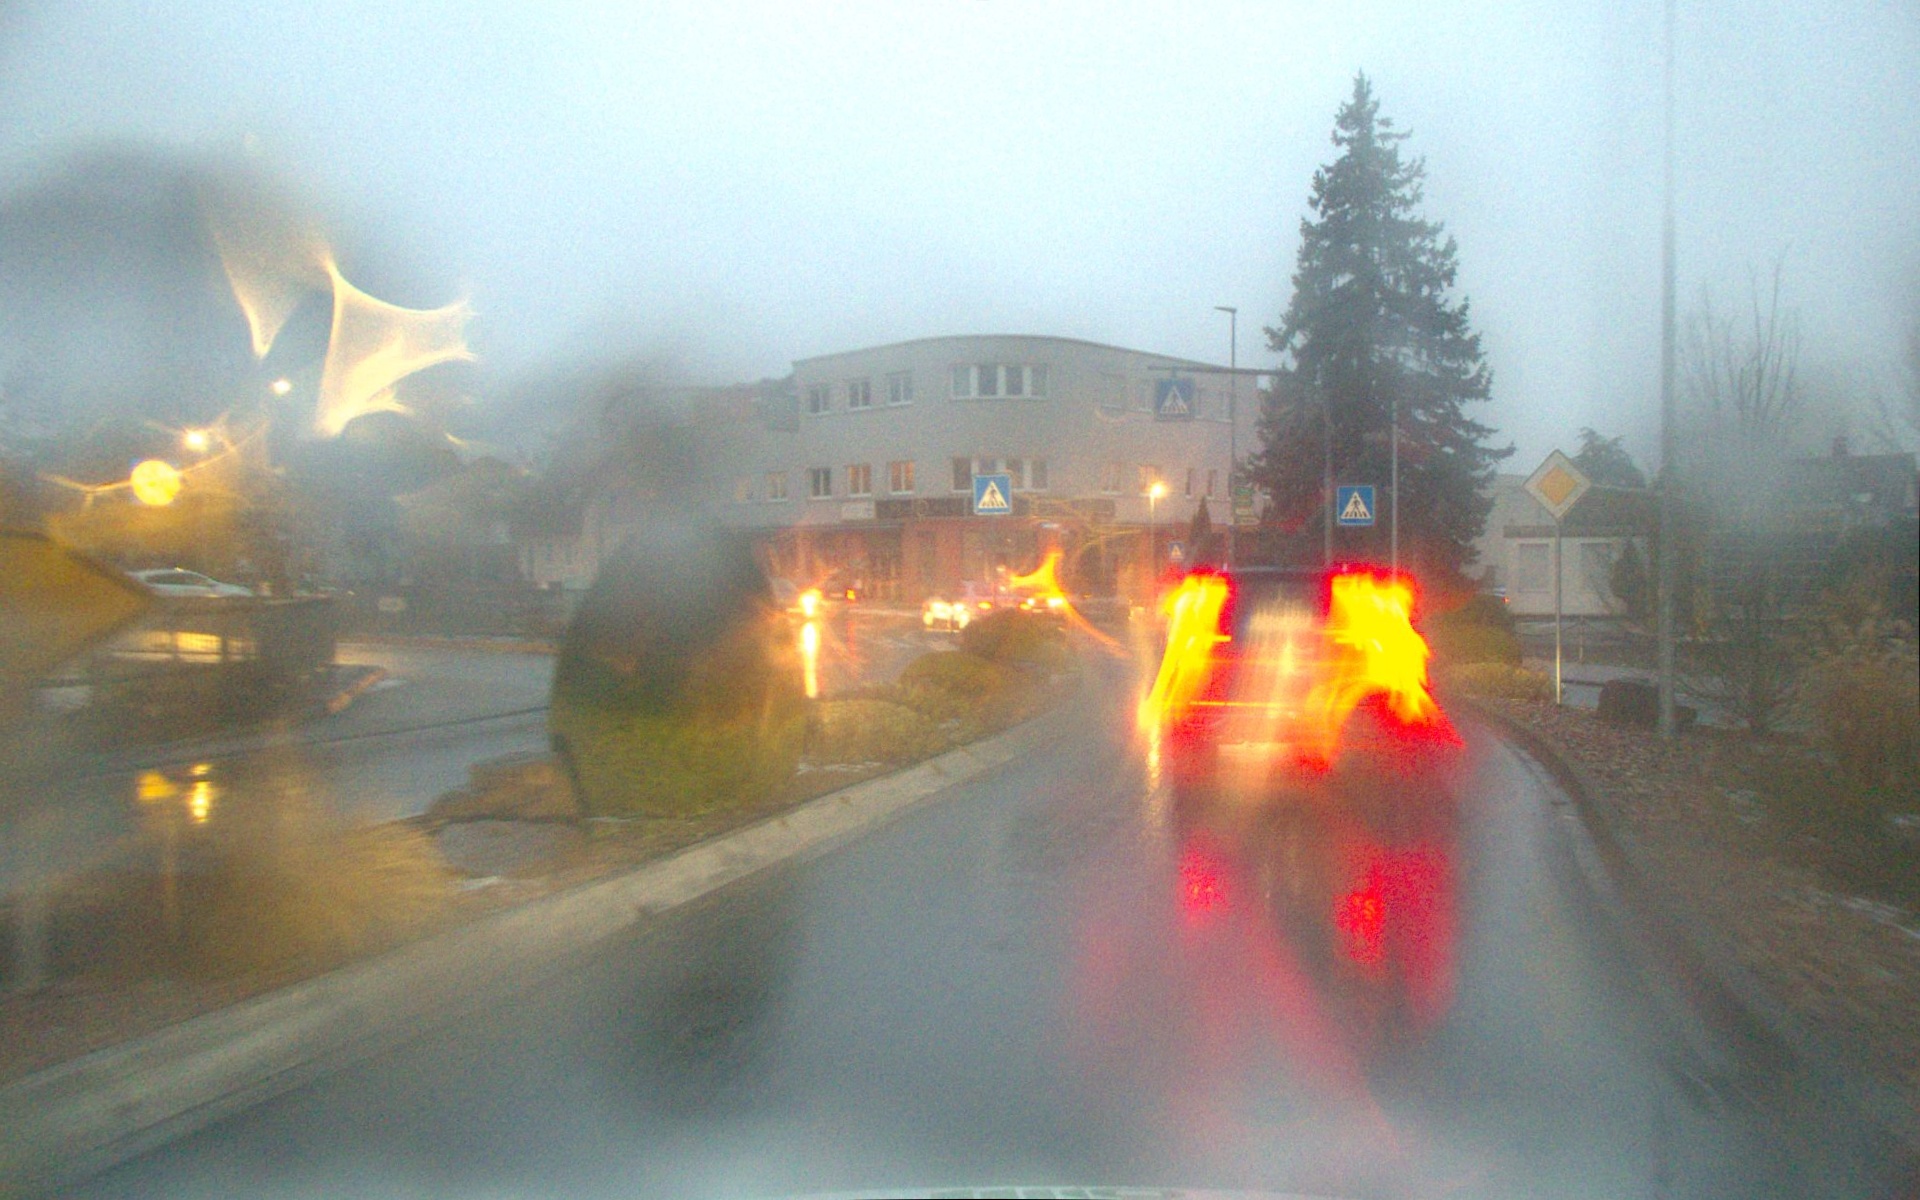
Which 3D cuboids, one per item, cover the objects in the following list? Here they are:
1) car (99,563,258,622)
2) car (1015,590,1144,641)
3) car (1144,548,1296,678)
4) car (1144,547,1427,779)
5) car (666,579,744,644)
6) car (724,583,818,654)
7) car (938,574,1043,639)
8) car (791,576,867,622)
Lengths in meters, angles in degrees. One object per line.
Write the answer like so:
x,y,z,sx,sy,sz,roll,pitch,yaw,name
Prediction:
-25.089,-0.272,53.183,4.321,1.778,1.679,-2,2,-43,car
4.157,0.501,57.285,4.533,1.599,1.879,-1,2,-43,car
4.063,0.117,26.484,2.117,1.718,4.576,-3,2,7,car
2.674,0.426,14.471,1.903,1.748,4.002,0,2,3,car
-9.159,0.360,59.129,2.129,2.096,4.549,-1,2,-17,car
-6.159,0.546,53.553,2.130,2.096,4.547,-1,2,-19,car
0.834,0.145,49.166,2.028,1.746,4.555,-1,2,-14,car
-4.774,-0.019,59.829,1.852,1.575,4.550,-1,0,-16,car
